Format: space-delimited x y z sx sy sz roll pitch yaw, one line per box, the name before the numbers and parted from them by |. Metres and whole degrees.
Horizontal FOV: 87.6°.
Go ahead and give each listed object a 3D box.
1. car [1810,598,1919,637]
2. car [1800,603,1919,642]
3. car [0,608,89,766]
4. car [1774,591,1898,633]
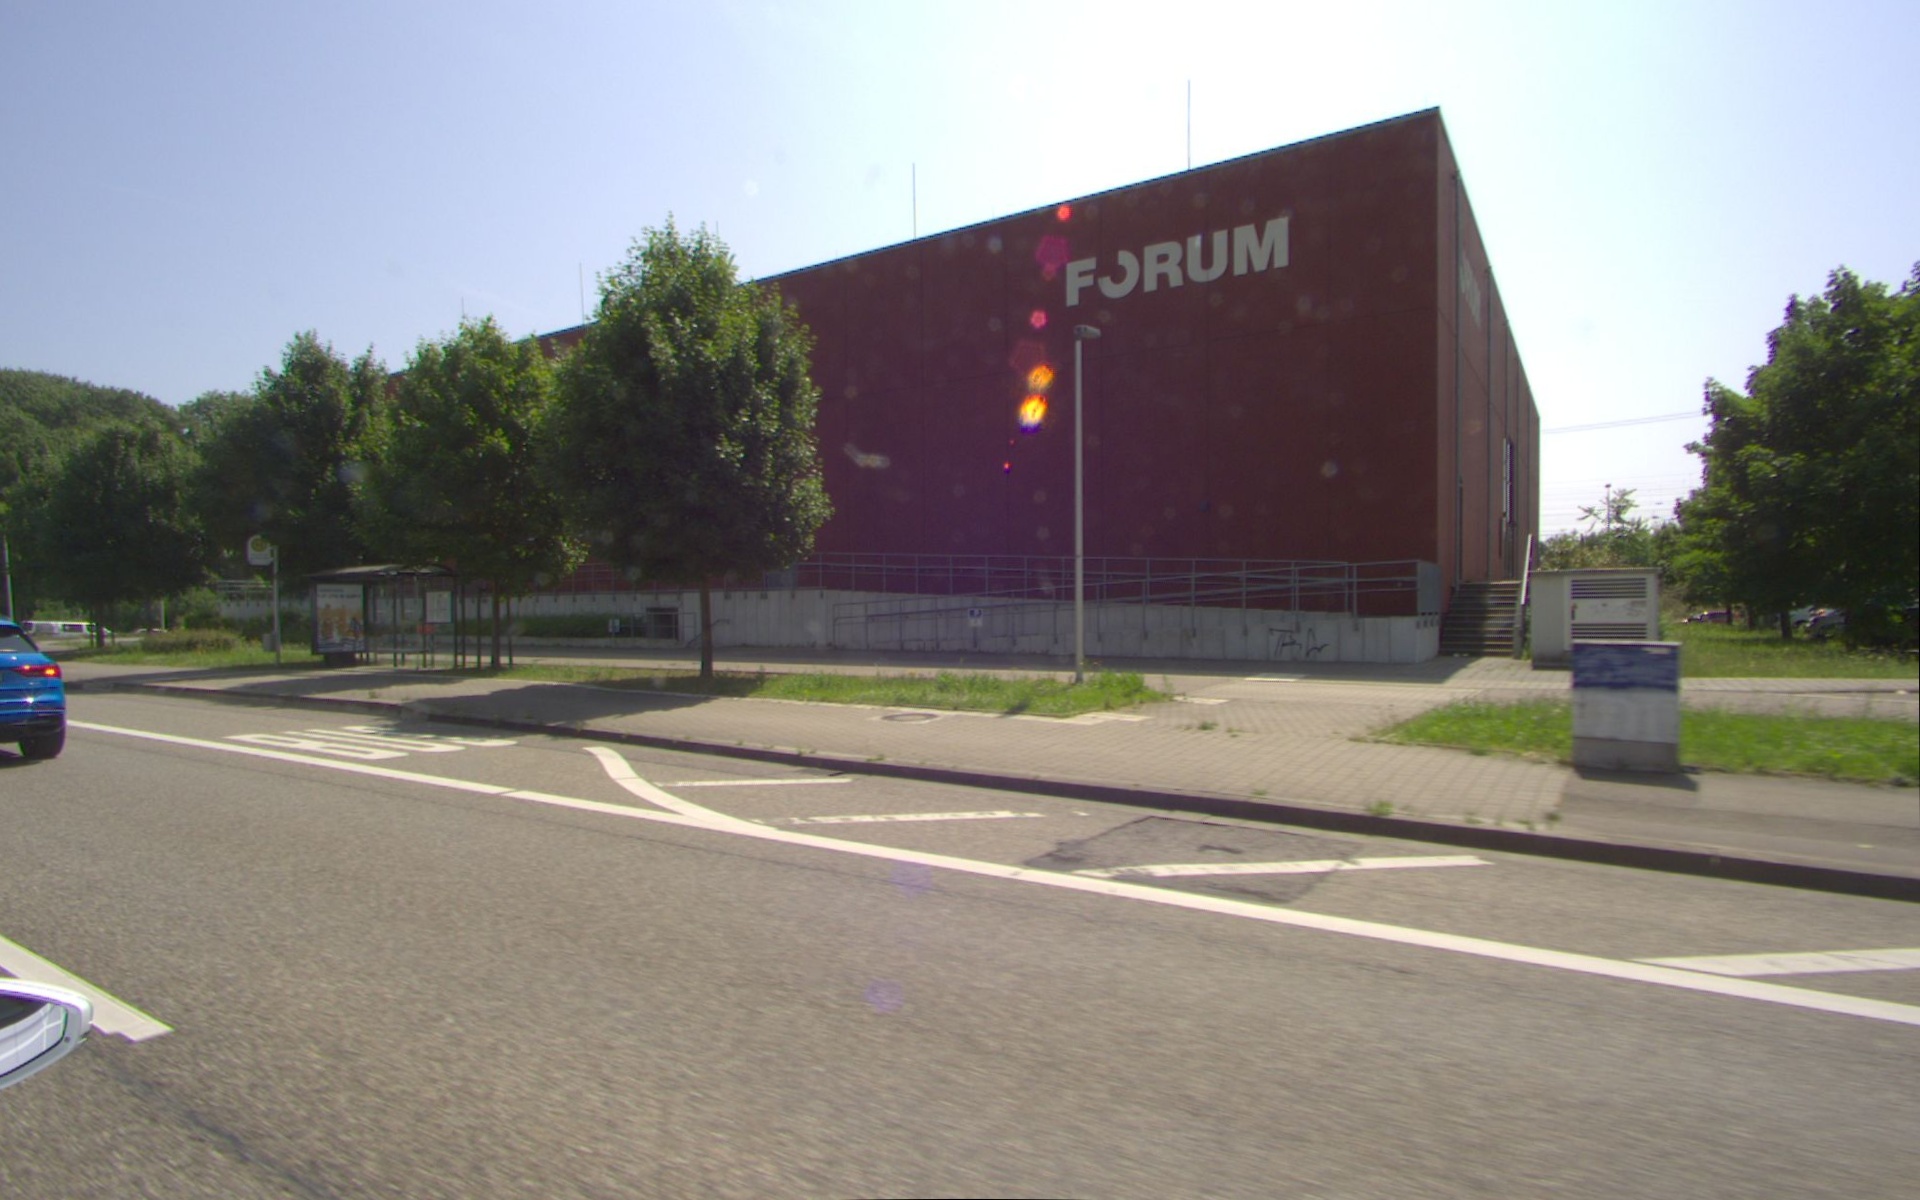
car | 38.081 0.723 41.649 3.943 1.583 1.703 0 0 32
car | 36.428 0.878 40.171 3.943 1.478 1.703 0 0 32
car | -11.745 0.904 11.253 4.337 1.616 1.834 0 -1 33
car | 38.484 0.513 44.136 3.948 1.795 1.701 0 0 36
